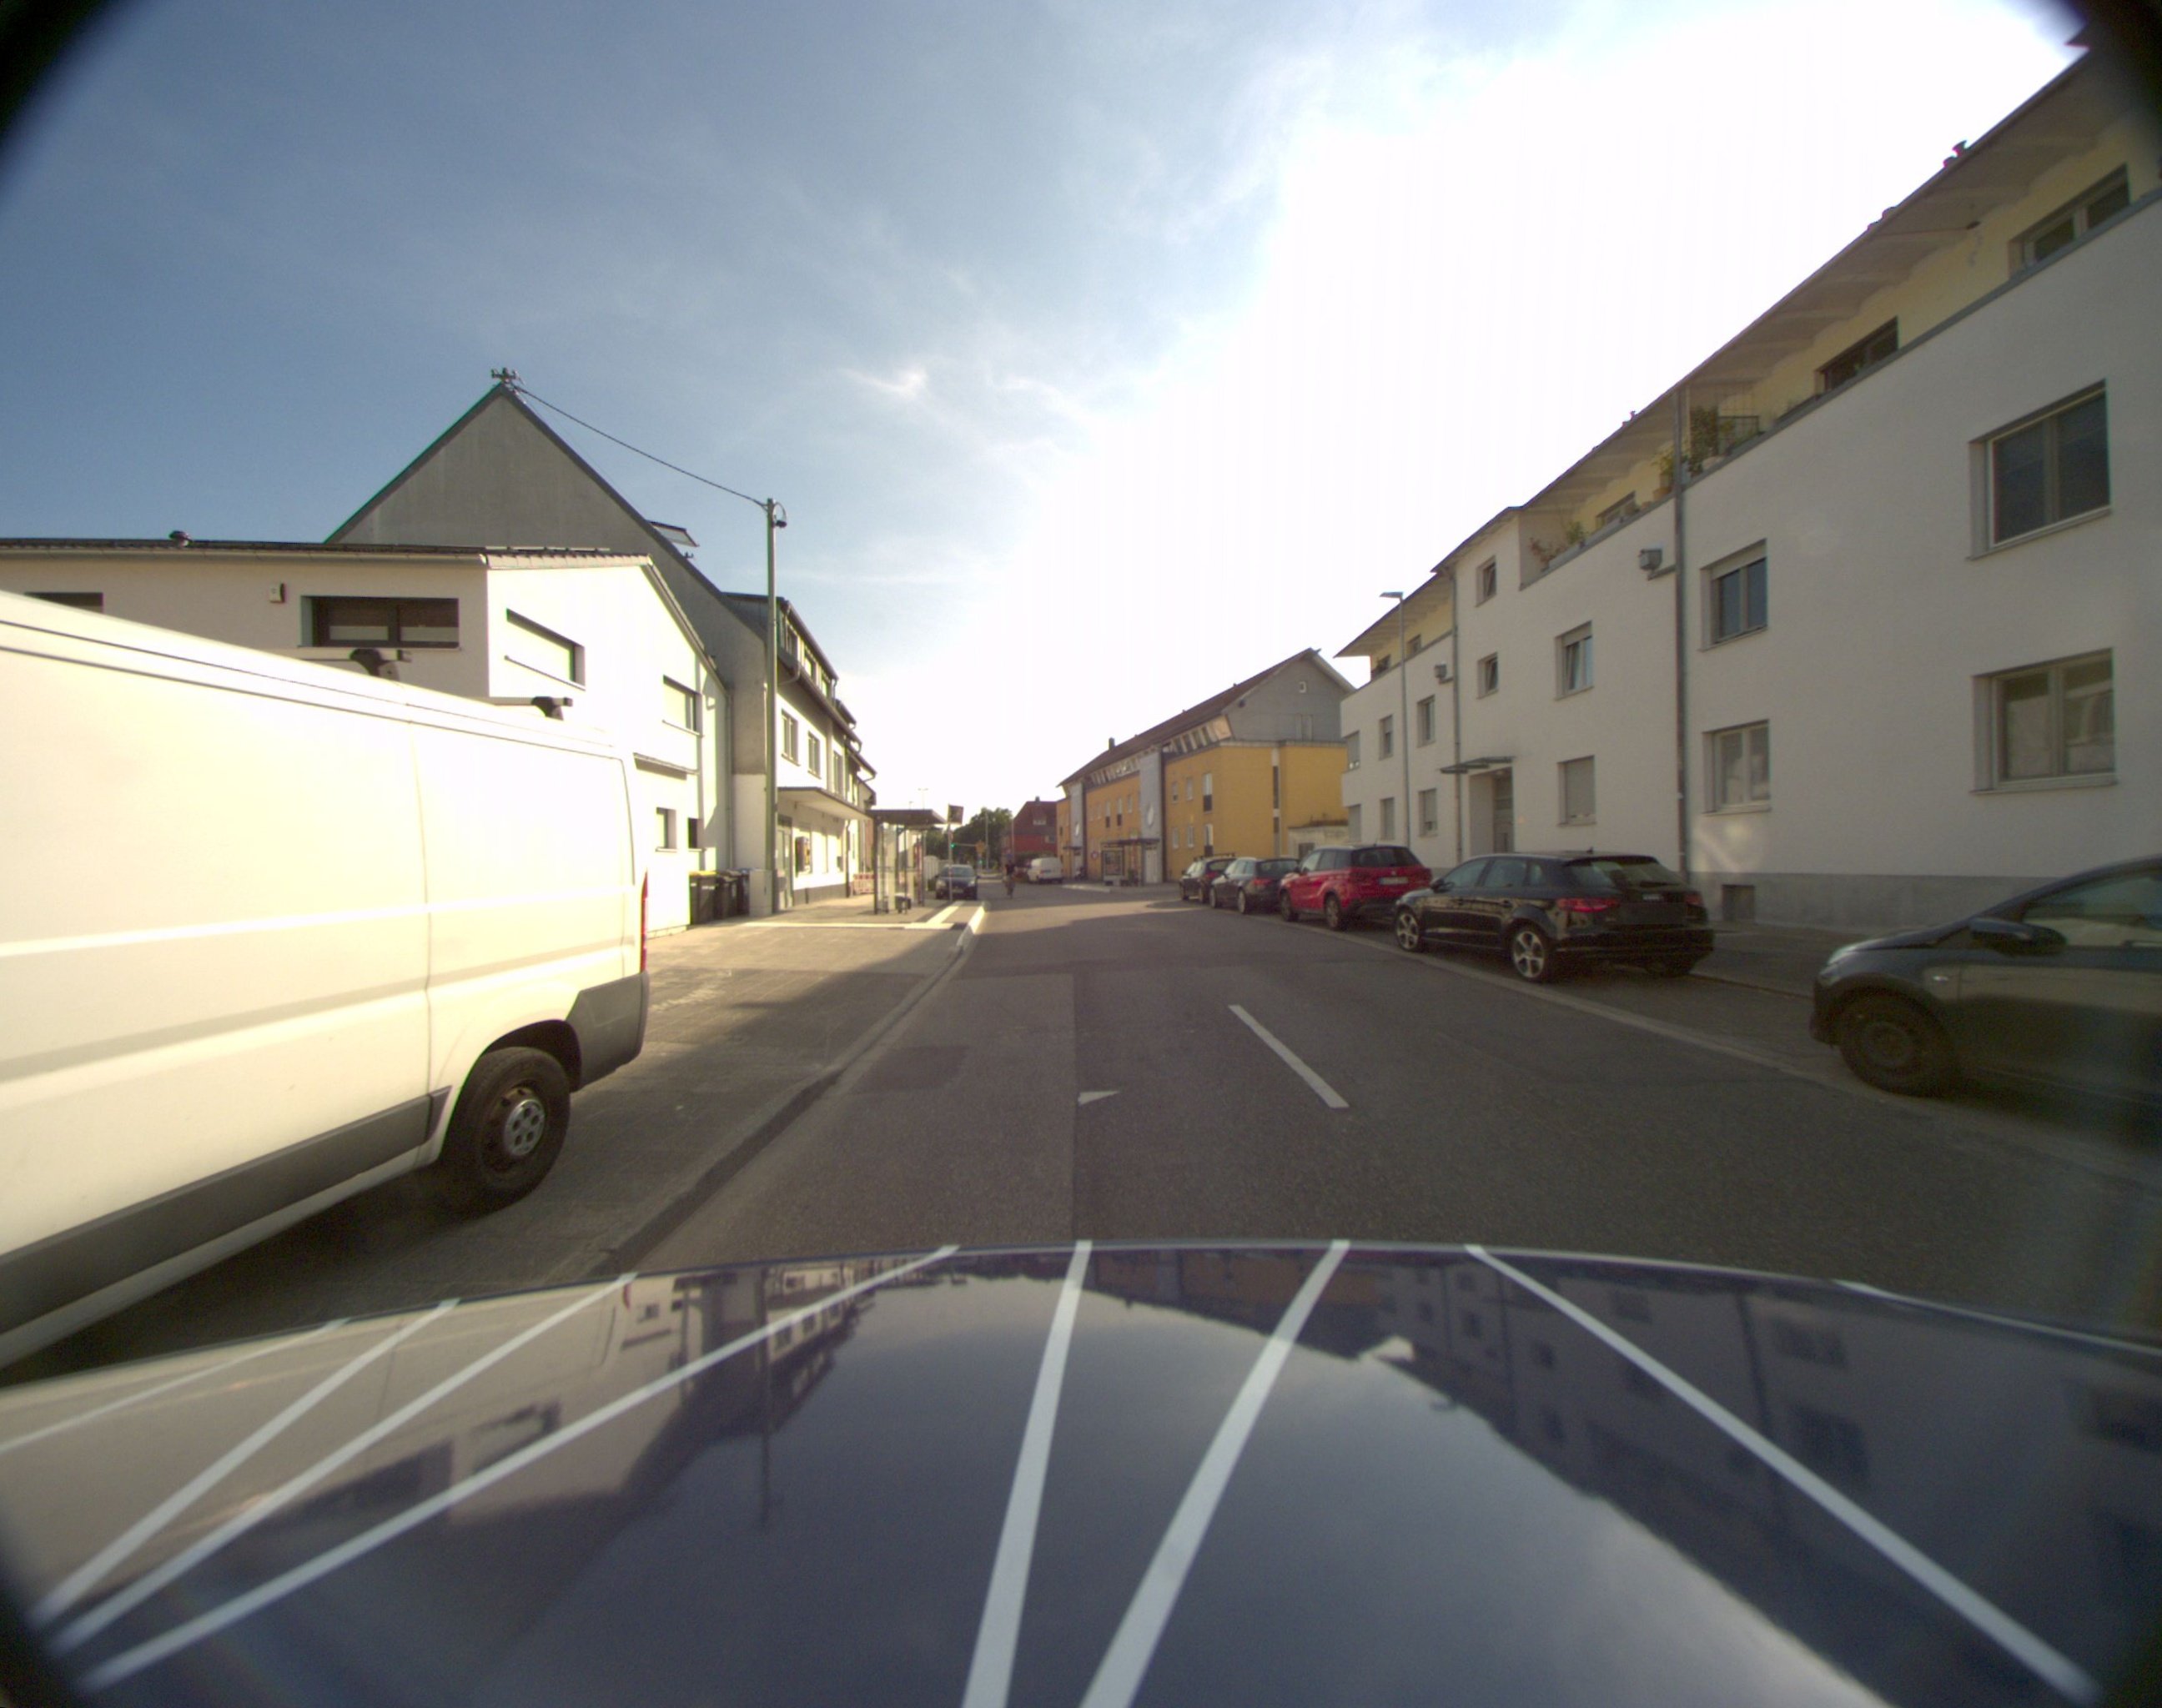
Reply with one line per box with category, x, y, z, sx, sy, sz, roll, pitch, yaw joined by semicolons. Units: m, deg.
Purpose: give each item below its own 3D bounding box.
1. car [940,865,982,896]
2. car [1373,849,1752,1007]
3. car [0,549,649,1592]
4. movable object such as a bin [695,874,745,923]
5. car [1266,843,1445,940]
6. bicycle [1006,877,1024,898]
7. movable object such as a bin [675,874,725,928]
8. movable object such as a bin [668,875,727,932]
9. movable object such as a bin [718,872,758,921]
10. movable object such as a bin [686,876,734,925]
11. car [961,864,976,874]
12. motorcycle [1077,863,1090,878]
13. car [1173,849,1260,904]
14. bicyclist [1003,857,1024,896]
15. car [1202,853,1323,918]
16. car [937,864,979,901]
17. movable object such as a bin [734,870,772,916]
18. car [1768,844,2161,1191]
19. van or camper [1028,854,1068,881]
car;-5.909;1.251;37.059;1.721;1.389;4.330;2;-1;-12
car;5.519;0.726;9.510;1.732;1.469;4.261;-2;0;-6
car;-3.487;0.479;1.689;2.180;2.314;4.997;0;0;0
movable object such as a bin;-8.012;0.974;16.878;0.814;1.053;0.601;0;0;-4
car;5.299;0.645;15.333;1.732;1.612;4.261;-2;0;-5
bicycle;-2.930;1.459;33.457;0.680;0.849;2.025;-2;0;-8
movable object such as a bin;-7.925;0.970;15.827;0.814;1.087;0.443;0;0;-4
movable object such as a bin;-7.671;0.967;15.221;0.814;1.087;0.767;0;0;-4
movable object such as a bin;-7.964;0.977;17.679;0.698;1.087;0.558;0;0;-6
movable object such as a bin;-7.959;0.993;16.314;0.814;1.030;0.470;0;0;-4
car;-17.049;2.230;115.356;1.797;1.433;3.995;-2;0;-14
motorcycle;0.204;1.407;65.086;0.584;1.176;1.875;-2;0;-18
car;4.509;0.720;25.948;1.781;1.612;4.176;-4;0;-6
bicyclist;-2.986;0.996;33.568;0.846;1.679;0.877;-2;0;-7
car;4.713;0.762;20.469;1.732;1.469;4.500;-3;0;-6
car;-5.154;1.164;32.059;1.613;1.412;3.917;0;0;-8
movable object such as a bin;-7.951;0.927;18.426;0.698;1.087;0.558;0;0;-4
car;5.401;0.702;3.326;1.497;1.456;3.513;-2;0;-2
van or camper;-2.617;1.034;58.957;2.001;1.991;4.914;-1;0;-15
